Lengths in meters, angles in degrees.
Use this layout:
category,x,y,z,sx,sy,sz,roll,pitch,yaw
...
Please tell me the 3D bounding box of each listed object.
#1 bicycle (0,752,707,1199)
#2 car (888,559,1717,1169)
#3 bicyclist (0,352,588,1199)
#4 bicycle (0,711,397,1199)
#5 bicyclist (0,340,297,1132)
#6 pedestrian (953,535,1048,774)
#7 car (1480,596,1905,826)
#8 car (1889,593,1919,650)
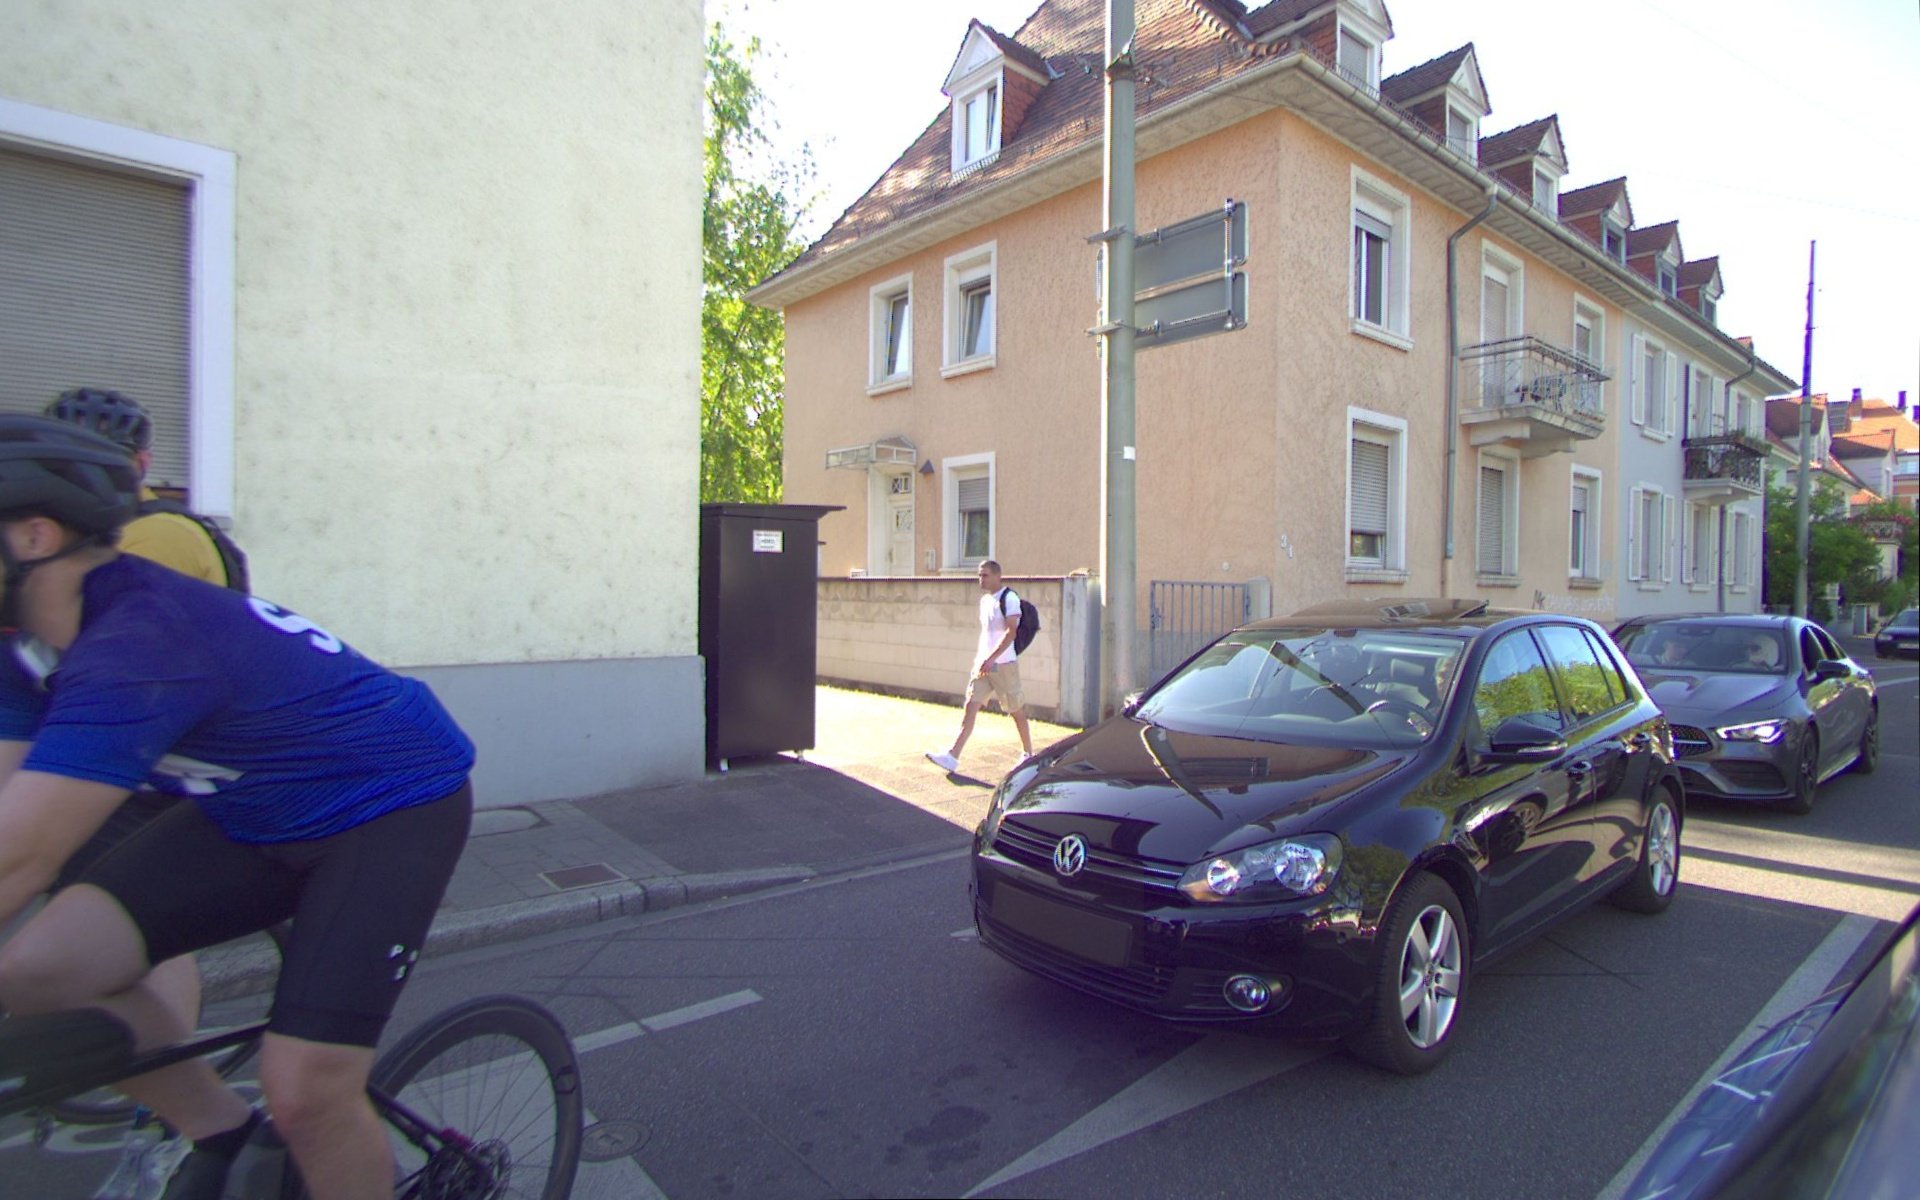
category,x,y,z,sx,sy,sz,roll,pitch,yaw
bicycle,-1.193,0.917,1.497,0.622,1.099,1.686,0,0,29
car,1.799,0.704,4.514,3.979,1.527,1.731,2,-1,-41
bicyclist,-1.157,0.491,1.549,0.635,1.513,0.874,1,-1,28
bicycle,-2.387,0.888,2.387,1.749,1.044,0.756,-1,0,-40
bicyclist,-2.226,0.285,2.527,0.868,1.684,0.807,0,0,-40
pedestrian,0.328,0.393,7.971,0.577,1.776,0.641,4,4,11
car,6.385,0.698,8.627,4.413,1.437,1.911,-1,0,-40
car,26.720,0.559,27.422,3.930,1.476,1.839,-1,0,-41
